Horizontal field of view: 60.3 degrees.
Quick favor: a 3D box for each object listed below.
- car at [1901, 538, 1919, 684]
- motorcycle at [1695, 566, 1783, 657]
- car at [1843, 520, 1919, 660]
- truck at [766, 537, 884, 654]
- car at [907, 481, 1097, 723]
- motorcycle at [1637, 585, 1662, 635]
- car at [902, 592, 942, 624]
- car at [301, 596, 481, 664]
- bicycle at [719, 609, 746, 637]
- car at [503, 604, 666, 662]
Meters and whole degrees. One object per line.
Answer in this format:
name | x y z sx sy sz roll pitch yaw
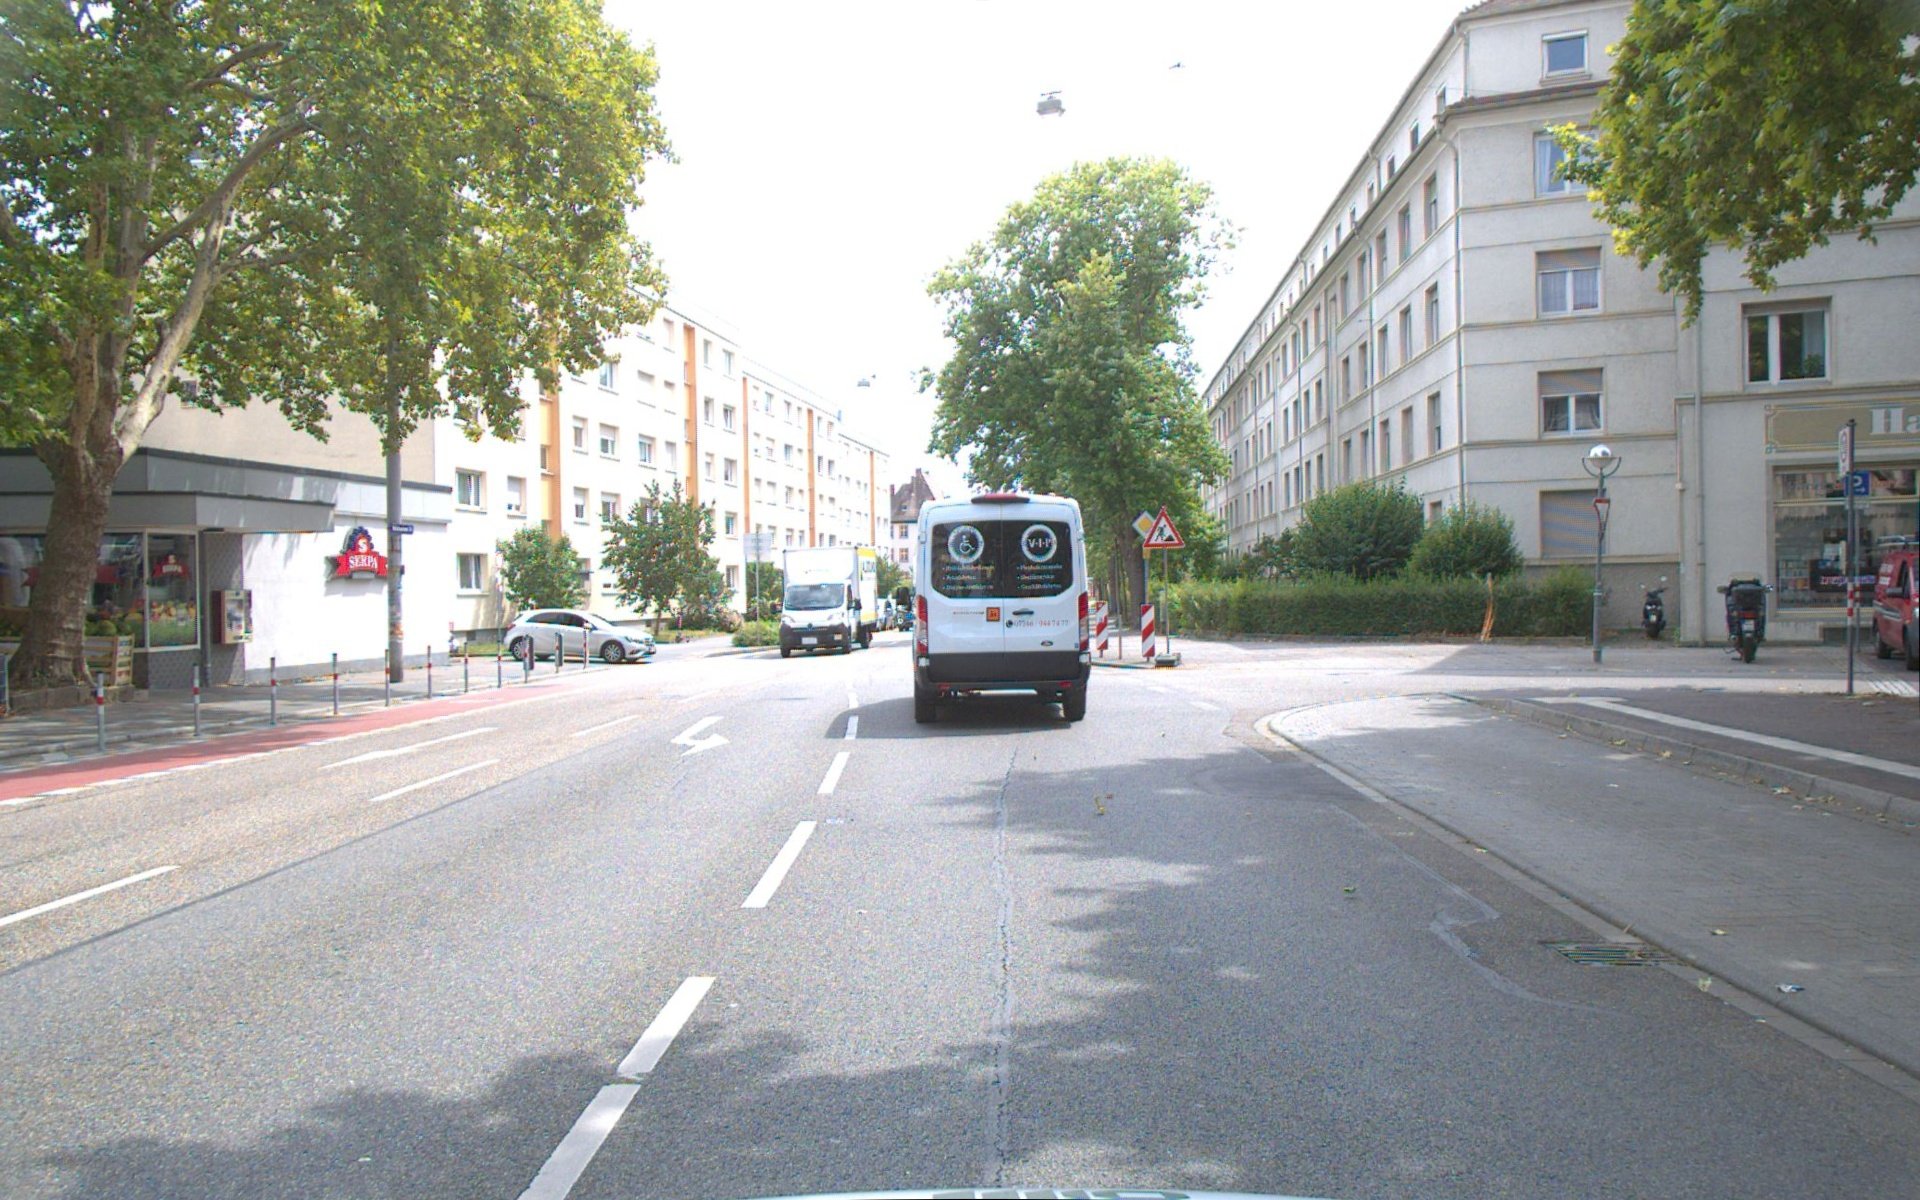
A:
car | 11.893 0.120 18.180 1.892 1.736 4.332 -1 0 19
motorcycle | 13.540 0.179 28.811 0.814 1.487 2.308 -1 1 11
car | 16.313 -0.190 27.894 1.953 2.187 4.844 -1 0 22
truck | -3.975 -0.146 50.212 2.488 3.161 7.023 -3 0 3
car | 0.540 0.017 20.083 2.027 2.585 4.636 0 0 2
motorcycle | 15.078 0.215 36.192 0.423 1.033 1.449 -1 1 20
car | -1.899 0.387 83.687 1.662 1.544 4.002 -2 0 3
car | -16.346 0.852 47.594 4.532 1.715 1.851 -2 0 10
bicycle | -10.760 1.076 78.172 0.566 1.273 1.935 -1 1 14
car | -10.612 0.922 46.917 4.083 1.476 1.850 2 0 6
